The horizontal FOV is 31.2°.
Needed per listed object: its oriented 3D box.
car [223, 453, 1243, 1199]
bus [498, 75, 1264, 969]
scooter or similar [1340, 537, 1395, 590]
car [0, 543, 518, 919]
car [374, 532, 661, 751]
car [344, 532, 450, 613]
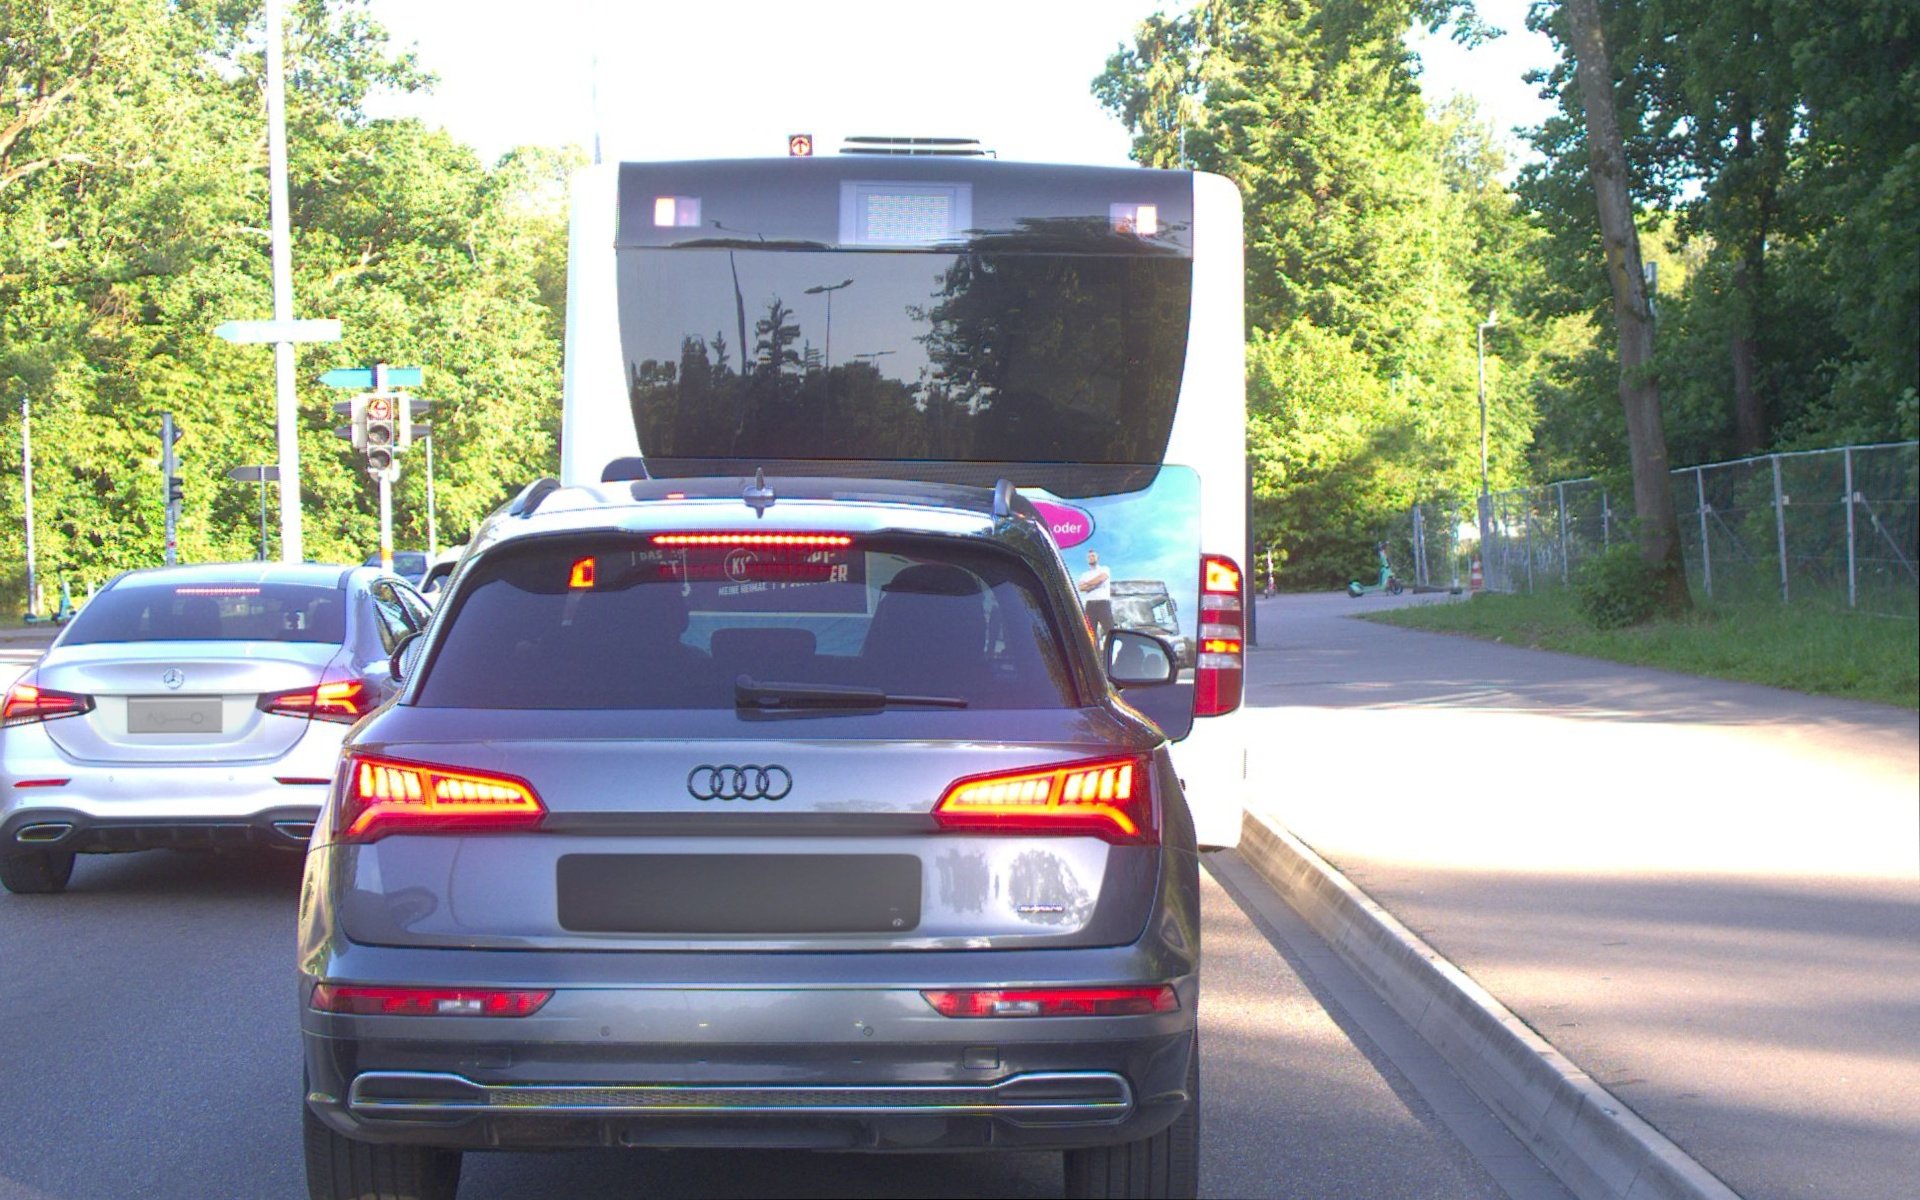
[{"bbox_3d":[-0.445,0.514,8.360,1.868,1.658,4.000,1,2,-1],"label":"car"},{"bbox_3d":[-0.253,-0.355,15.133,2.678,3.131,5.882,1,2,1],"label":"bus"},{"bbox_3d":[9.248,-0.833,77.951,1.184,1.170,0.659,1,1,11],"label":"scooter or similar"},{"bbox_3d":[-3.174,0.490,15.926,1.785,1.439,4.278,1,2,-1],"label":"car"},{"bbox_3d":[-3.462,0.271,27.543,1.808,1.567,4.000,1,2,-1],"label":"car"},{"bbox_3d":[-12.210,-0.616,74.796,1.993,1.656,4.001,-2,1,-6],"label":"car"}]
